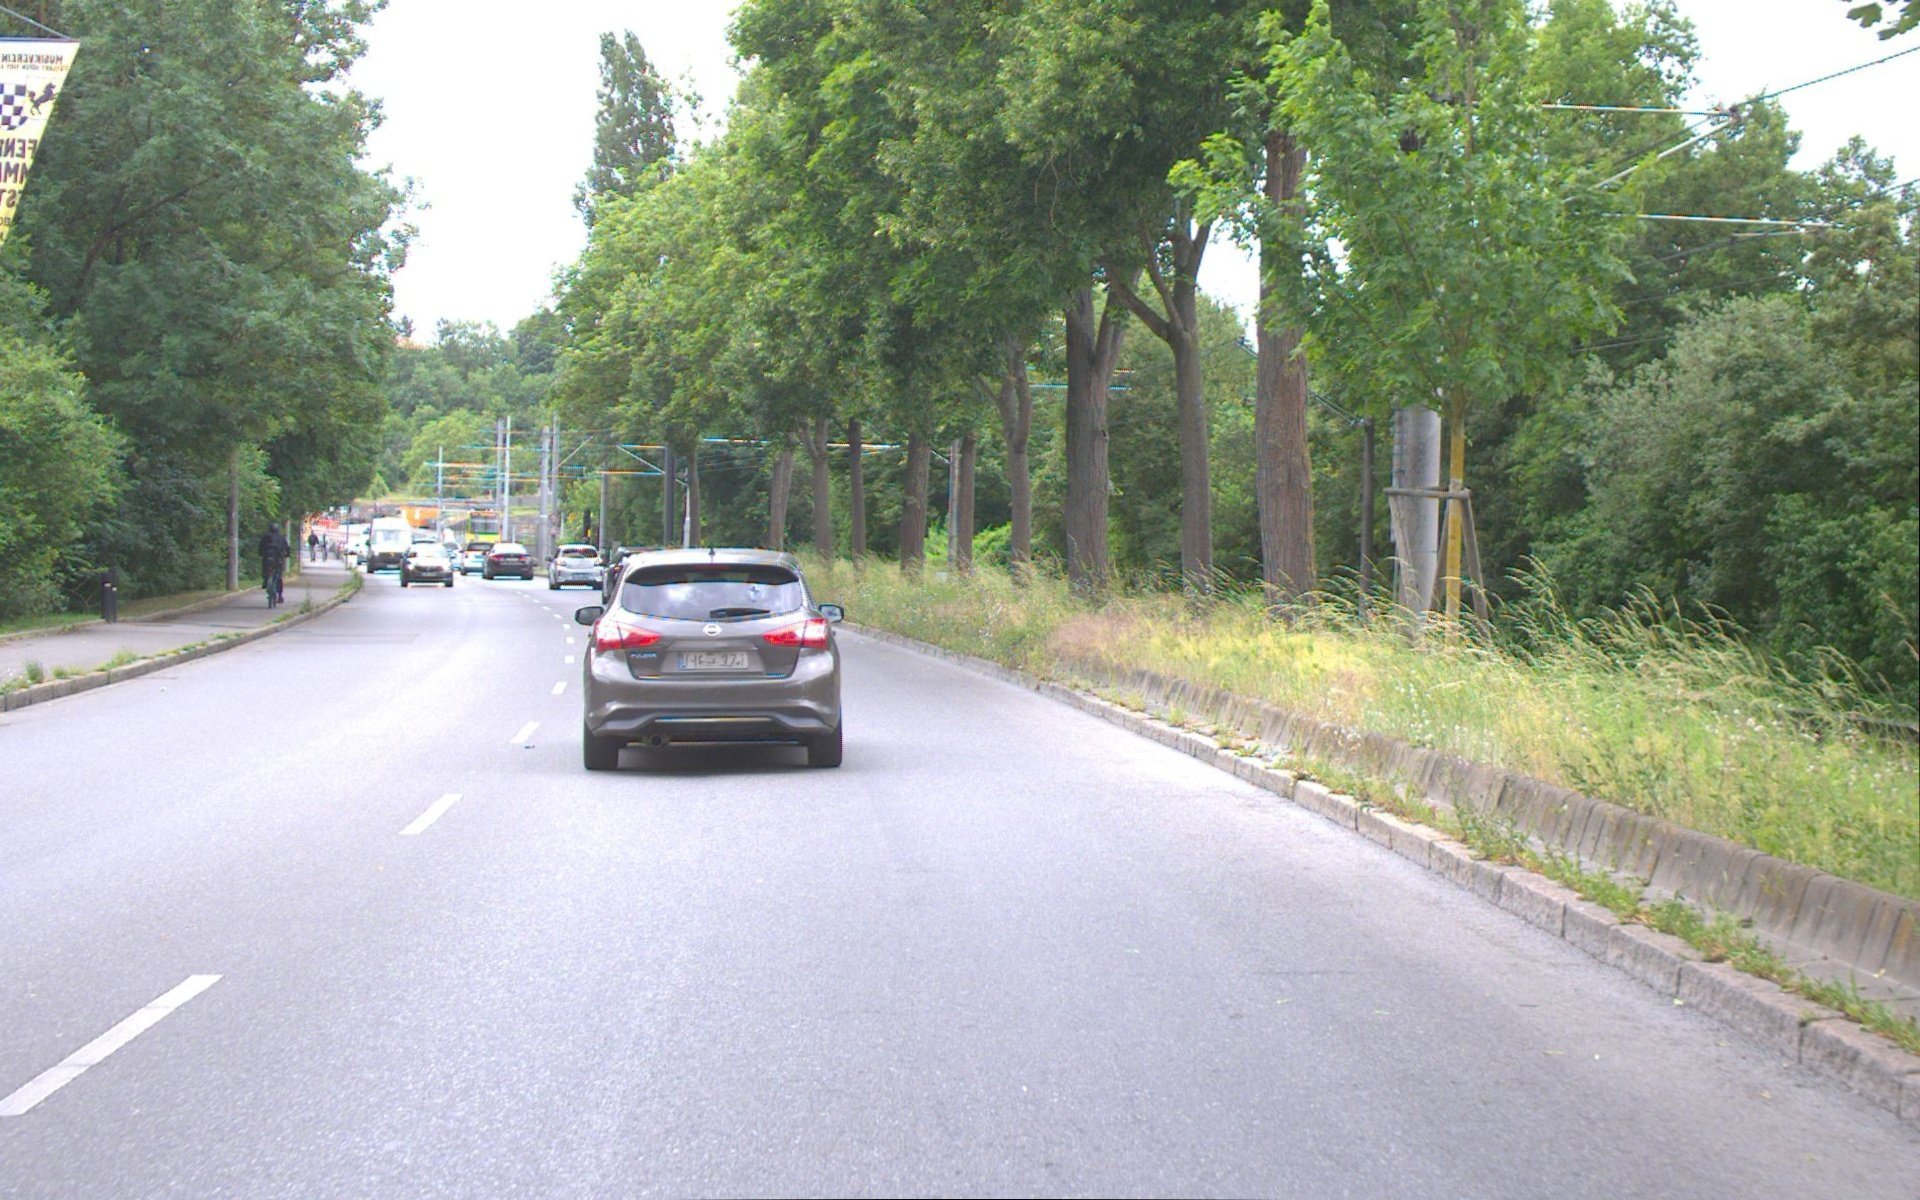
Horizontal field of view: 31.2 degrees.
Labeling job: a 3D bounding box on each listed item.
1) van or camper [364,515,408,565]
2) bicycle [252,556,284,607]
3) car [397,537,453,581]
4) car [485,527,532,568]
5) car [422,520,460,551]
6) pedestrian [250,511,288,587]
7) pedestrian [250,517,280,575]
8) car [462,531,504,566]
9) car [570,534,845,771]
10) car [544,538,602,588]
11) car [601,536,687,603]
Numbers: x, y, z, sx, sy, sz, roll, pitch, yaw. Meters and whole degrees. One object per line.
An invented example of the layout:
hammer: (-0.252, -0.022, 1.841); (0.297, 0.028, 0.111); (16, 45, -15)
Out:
van or camper: (-26.738, -2.821, 160.039); (1.925, 2.143, 3.933); (3, 2, -10)
bicycle: (-14.681, -0.401, 72.920); (0.488, 1.027, 1.124); (3, 2, -5)
car: (-18.857, -1.463, 121.325); (1.749, 1.459, 3.921); (2, 1, -7)
car: (-18.056, -2.096, 137.640); (1.775, 1.467, 4.001); (3, 2, -7)
car: (-26.675, -3.335, 176.834); (1.775, 1.467, 4.001); (3, 2, -7)
pedestrian: (-14.654, -1.095, 72.883); (0.617, 1.566, 0.849); (3, 2, -5)
pedestrian: (-19.861, -1.553, 98.277); (0.695, 1.616, 0.684); (3, 1, -5)
car: (-21.477, -2.332, 154.805); (1.775, 1.467, 4.001); (2, 2, -7)
car: (-1.856, 0.310, 24.779); (1.816, 1.503, 4.001); (0, 2, -5)
car: (-12.749, -1.238, 113.152); (1.775, 1.467, 4.001); (3, 2, -7)
car: (-7.776, -0.775, 84.885); (1.776, 1.467, 4.001); (3, 2, -1)
